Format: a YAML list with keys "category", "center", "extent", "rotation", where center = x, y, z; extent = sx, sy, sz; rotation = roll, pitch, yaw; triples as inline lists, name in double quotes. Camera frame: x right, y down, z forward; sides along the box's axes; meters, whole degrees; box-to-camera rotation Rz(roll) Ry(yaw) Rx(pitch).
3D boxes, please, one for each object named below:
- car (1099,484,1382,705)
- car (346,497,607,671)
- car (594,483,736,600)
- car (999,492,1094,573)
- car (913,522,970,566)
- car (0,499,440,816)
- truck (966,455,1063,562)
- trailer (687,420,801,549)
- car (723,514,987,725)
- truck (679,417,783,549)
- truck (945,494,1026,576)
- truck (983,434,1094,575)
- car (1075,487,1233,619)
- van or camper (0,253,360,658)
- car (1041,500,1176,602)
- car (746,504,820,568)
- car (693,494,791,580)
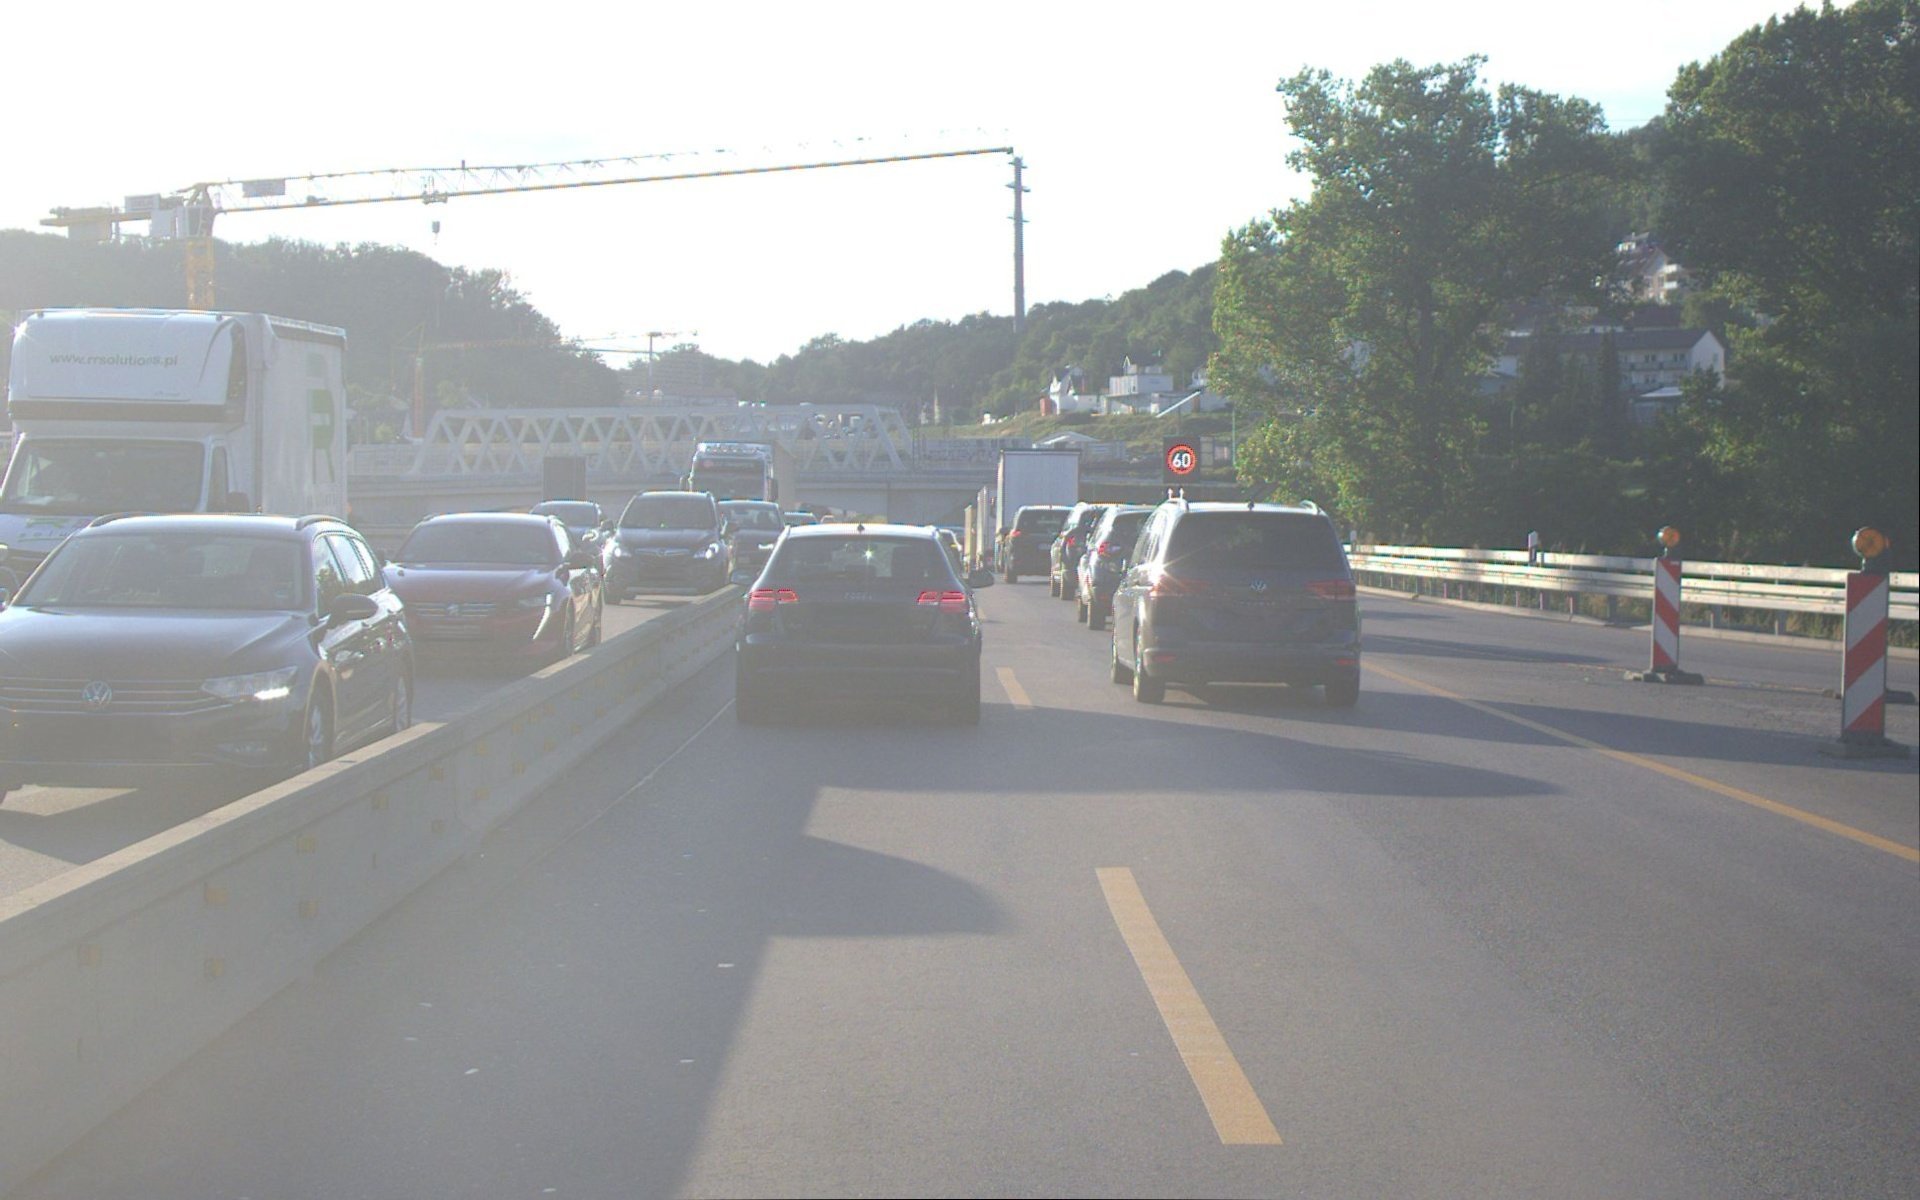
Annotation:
- category: "car"
  center: [2.244, -0.118, 28.658]
  extent: [1.812, 1.609, 4.527]
  rotation: [2, 2, -1]
- category: "car"
  center: [-4.353, -0.203, 31.590]
  extent: [1.815, 1.458, 4.706]
  rotation: [0, 2, -1]
- category: "car"
  center: [-4.313, -0.885, 50.827]
  extent: [1.827, 1.634, 4.531]
  rotation: [0, 2, -2]
- category: "car"
  center: [1.803, -1.421, 72.997]
  extent: [1.814, 1.627, 4.411]
  rotation: [1, 1, -1]
- category: "car"
  center: [-0.635, -1.901, 116.077]
  extent: [1.863, 1.415, 4.000]
  rotation: [2, 1, -1]
- category: "car"
  center: [-4.032, 0.200, 18.343]
  extent: [1.815, 1.458, 4.706]
  rotation: [1, 2, 0]
- category: "truck"
  center: [2.344, -4.152, 155.027]
  extent: [3.890, 4.483, 15.268]
  rotation: [1, 2, -1]
- category: "trailer"
  center: [-7.093, -3.767, 114.807]
  extent: [2.814, 4.036, 14.022]
  rotation: [0, 1, 0]
- category: "car"
  center: [-0.788, 0.082, 25.395]
  extent: [1.770, 1.385, 4.001]
  rotation: [1, 2, -2]
- category: "truck"
  center: [-7.156, -3.646, 107.930]
  extent: [2.814, 4.034, 5.672]
  rotation: [0, 1, 1]
- category: "truck"
  center: [1.395, -3.829, 199.000]
  extent: [3.890, 4.483, 13.850]
  rotation: [1, 2, -3]
- category: "truck"
  center: [2.586, -3.427, 118.404]
  extent: [3.385, 4.482, 15.269]
  rotation: [1, 3, 0]
- category: "car"
  center: [2.444, -0.618, 44.203]
  extent: [1.774, 1.580, 4.135]
  rotation: [1, 1, 0]
- category: "van or camper"
  center: [-7.676, -1.356, 33.463]
  extent: [2.457, 3.486, 7.414]
  rotation: [0, 2, -1]
- category: "car"
  center: [2.408, -0.791, 56.788]
  extent: [1.875, 1.594, 4.966]
  rotation: [0, 0, -2]
- category: "car"
  center: [-4.400, -1.596, 86.030]
  extent: [1.766, 1.529, 4.000]
  rotation: [1, 1, -2]
- category: "car"
  center: [-4.206, -1.221, 66.767]
  extent: [1.742, 1.578, 4.706]
  rotation: [1, 1, -2]
